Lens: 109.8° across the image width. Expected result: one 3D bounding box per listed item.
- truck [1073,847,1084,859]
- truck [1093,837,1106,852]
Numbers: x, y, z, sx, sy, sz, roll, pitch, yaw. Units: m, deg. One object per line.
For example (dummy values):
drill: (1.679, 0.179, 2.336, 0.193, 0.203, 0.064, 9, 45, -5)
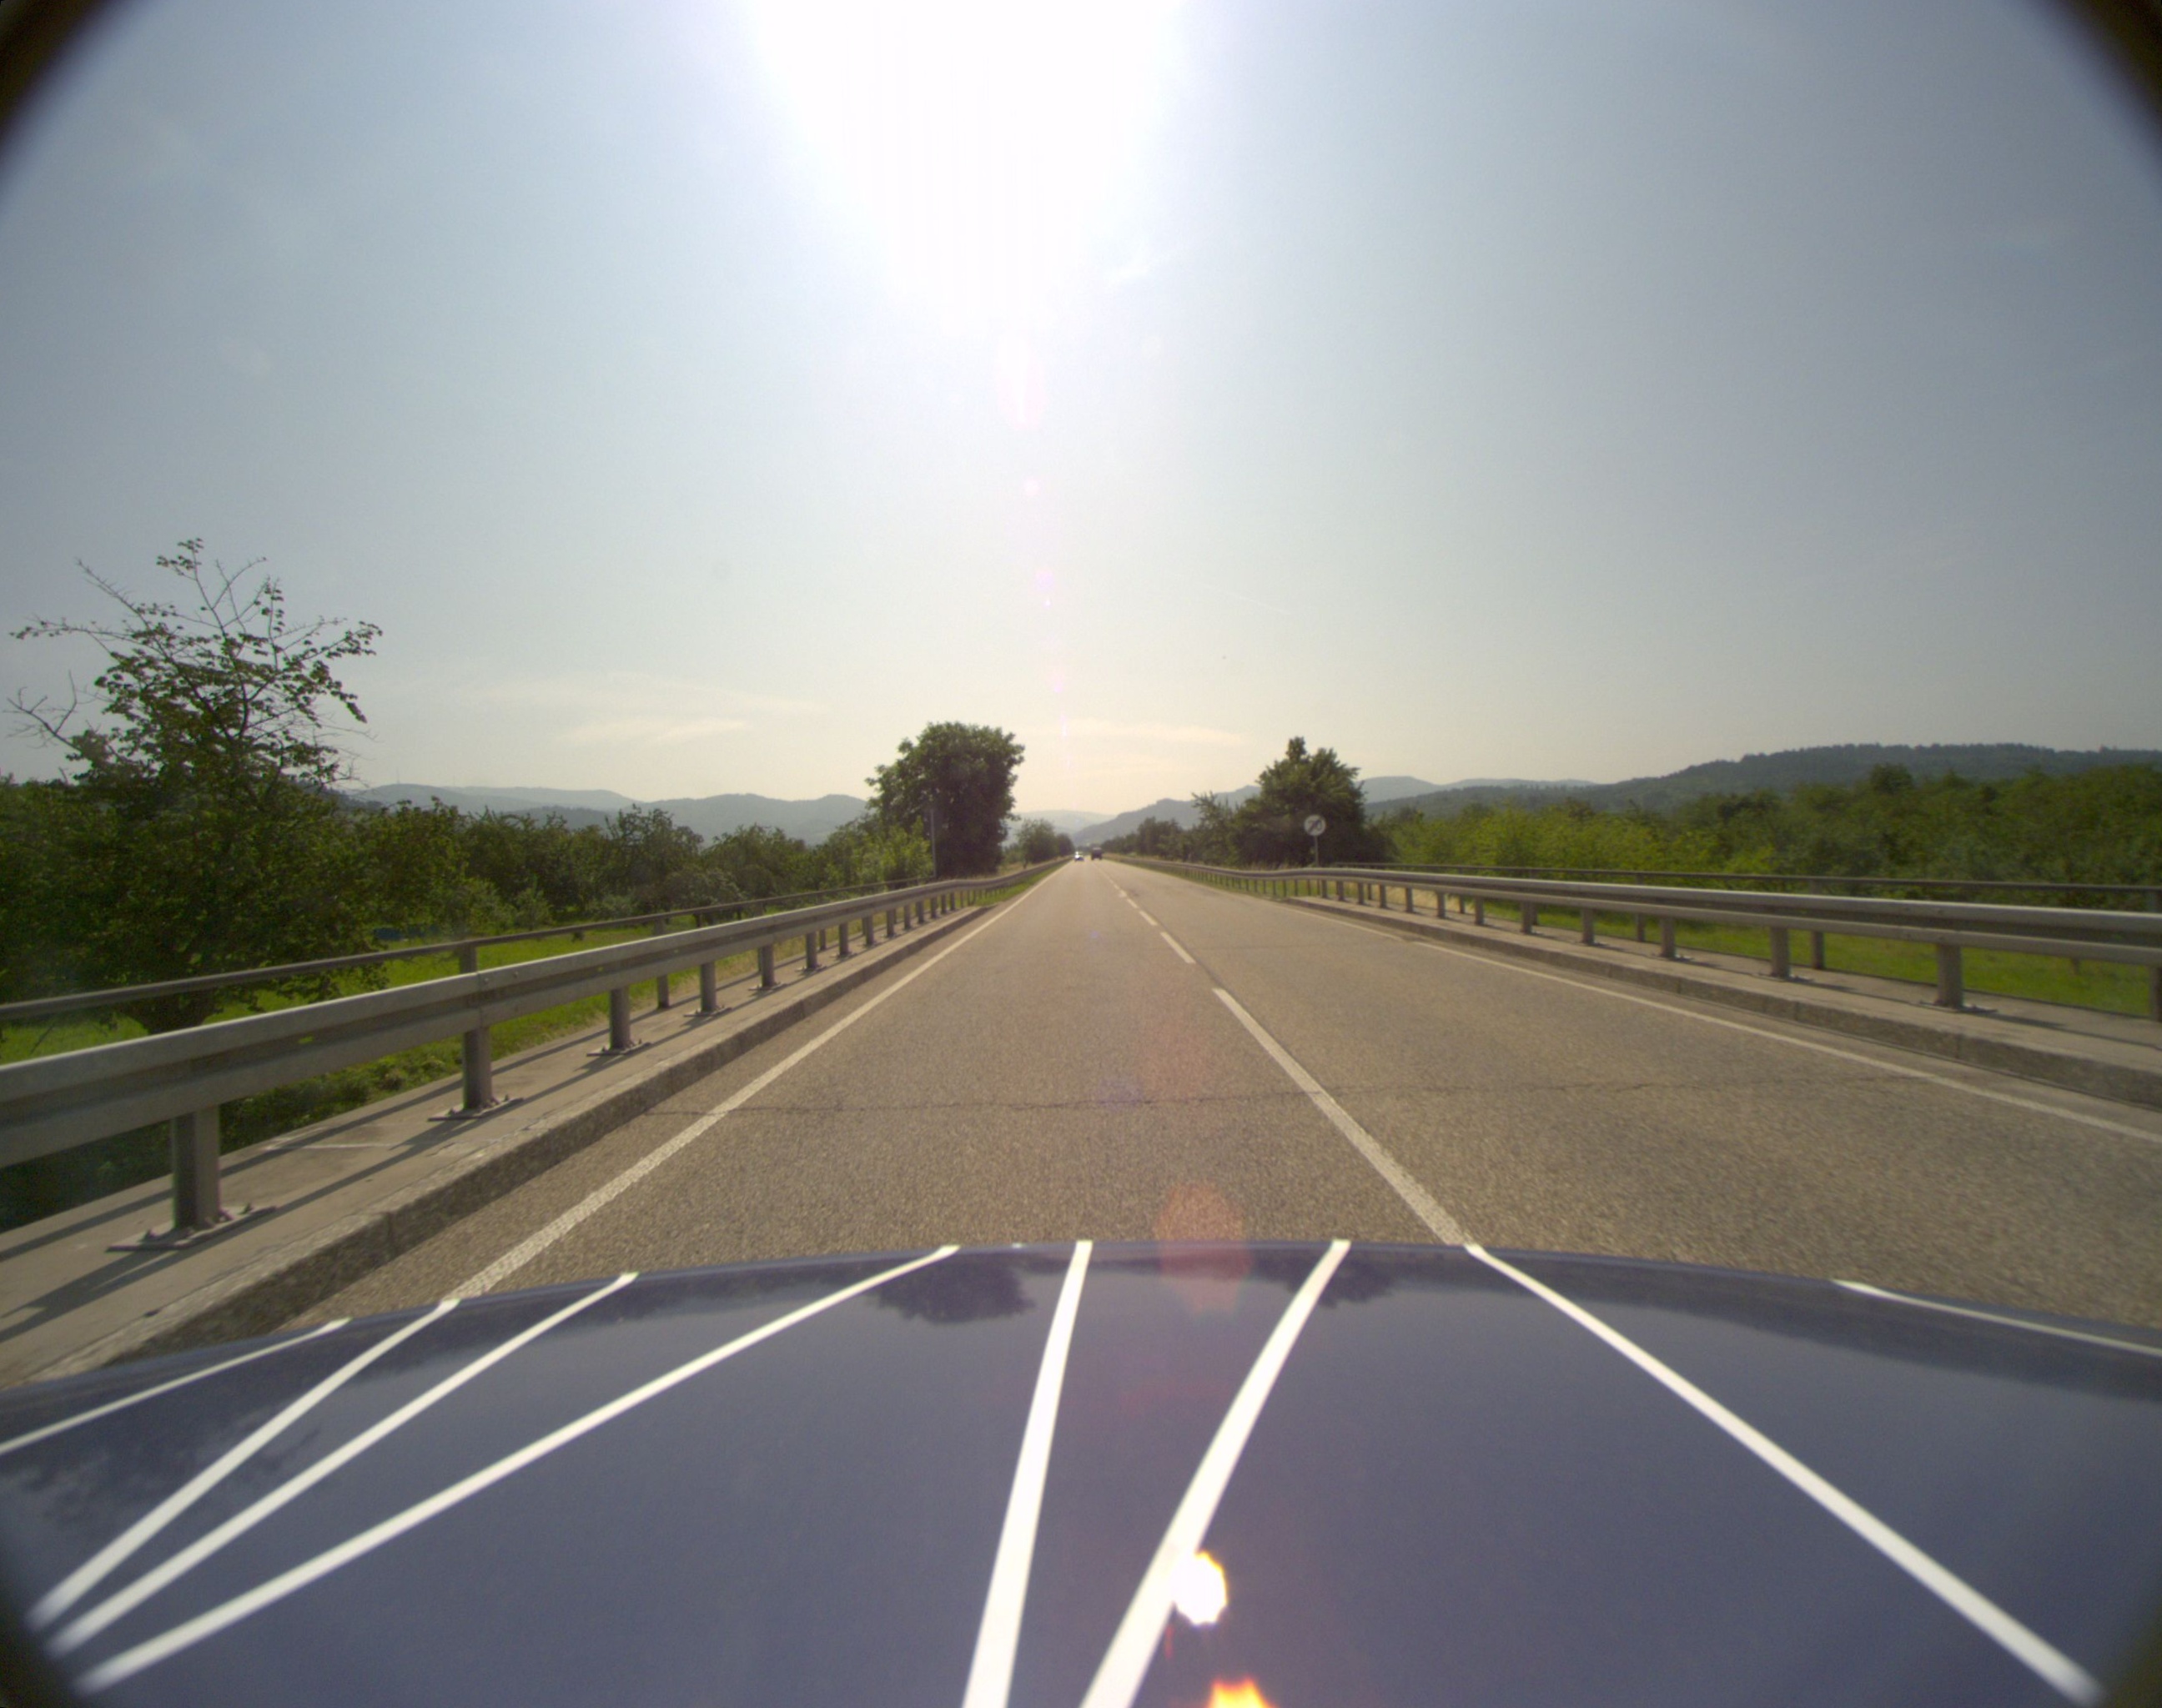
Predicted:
truck: (-0.484, -0.240, 158.518, 2.032, 2.233, 4.764, -2, 1, 1)
truck: (4.396, -2.307, 184.021, 2.735, 3.651, 9.381, -2, 1, 0)
